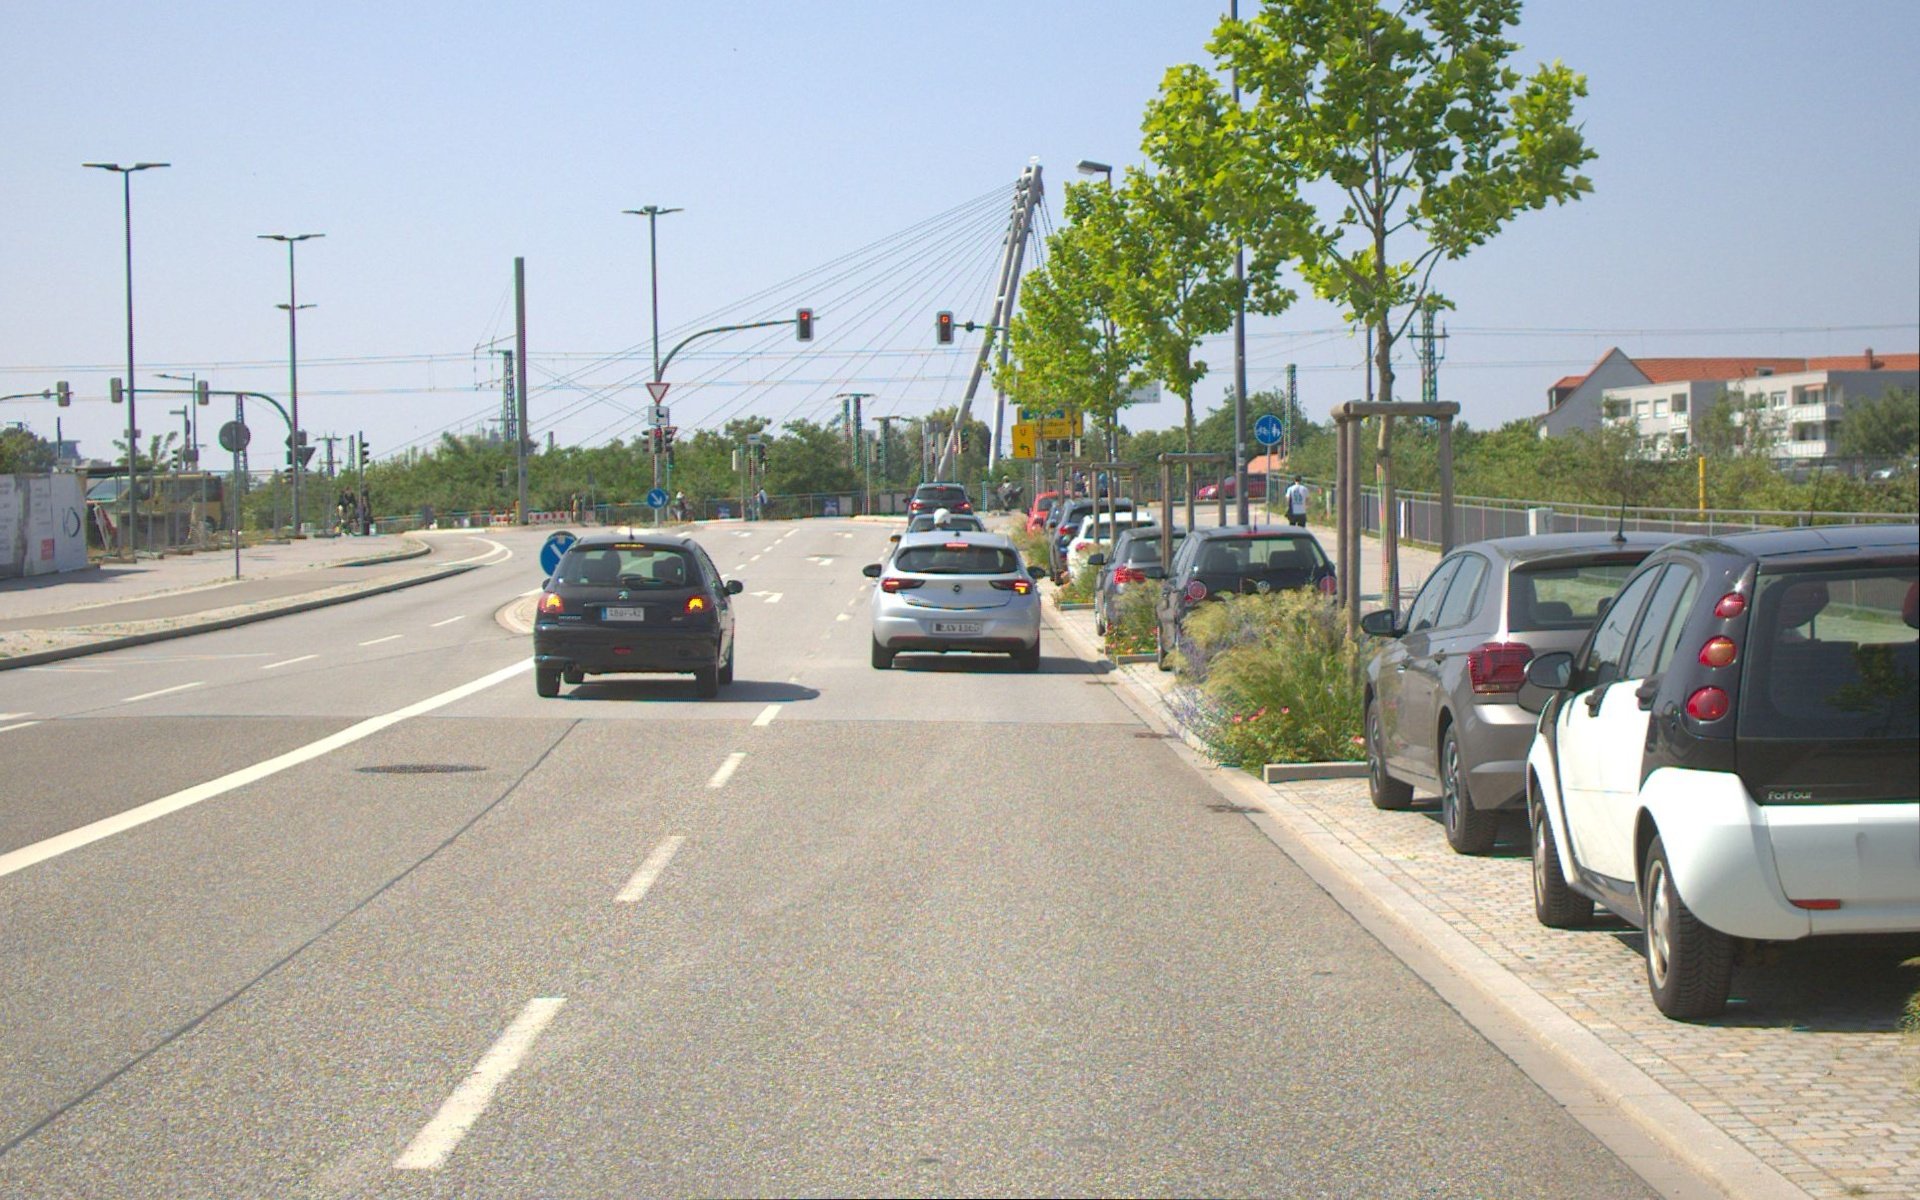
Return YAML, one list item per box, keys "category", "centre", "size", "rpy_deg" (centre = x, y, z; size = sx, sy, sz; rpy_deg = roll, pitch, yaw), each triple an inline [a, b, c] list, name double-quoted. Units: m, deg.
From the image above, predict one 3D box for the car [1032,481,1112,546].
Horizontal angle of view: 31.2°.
- category: "car"
  centre: [2.717, -2.126, 83.992]
  size: [1.778, 1.498, 4.001]
  rpy_deg: [-2, 2, 0]

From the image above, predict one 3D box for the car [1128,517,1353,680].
- category: "car"
  centre: [2.714, -0.038, 34.035]
  size: [1.704, 1.457, 3.954]
  rpy_deg: [-2, 1, -2]

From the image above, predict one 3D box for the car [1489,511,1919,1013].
- category: "car"
  centre: [2.979, 0.424, 12.094]
  size: [1.704, 1.457, 4.085]
  rpy_deg: [-1, 1, 2]

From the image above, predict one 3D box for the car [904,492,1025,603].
- category: "car"
  centre: [0.072, -0.840, 53.133]
  size: [1.778, 1.563, 4.001]
  rpy_deg: [-1, 3, 0]

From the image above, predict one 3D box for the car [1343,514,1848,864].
- category: "car"
  centre: [3.024, 0.343, 17.137]
  size: [1.704, 1.457, 3.954]
  rpy_deg: [-2, 2, 0]

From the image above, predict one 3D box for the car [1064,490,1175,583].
- category: "car"
  centre: [2.705, -1.115, 59.030]
  size: [1.696, 1.470, 4.206]
  rpy_deg: [-2, 2, 1]

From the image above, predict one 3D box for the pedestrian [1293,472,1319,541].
- category: "pedestrian"
  centre: [7.888, -2.134, 78.416]
  size: [0.533, 1.570, 0.524]
  rpy_deg: [1, 0, 0]

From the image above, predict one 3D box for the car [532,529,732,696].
- category: "car"
  centre: [-2.959, 0.066, 31.566]
  size: [1.619, 1.411, 3.728]
  rpy_deg: [-1, 1, -2]

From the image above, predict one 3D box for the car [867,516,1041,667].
- category: "car"
  centre: [-0.079, -0.135, 37.366]
  size: [1.778, 1.437, 4.001]
  rpy_deg: [-1, 3, -1]

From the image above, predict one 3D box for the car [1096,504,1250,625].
- category: "car"
  centre: [2.646, -0.469, 43.519]
  size: [1.704, 1.397, 4.270]
  rpy_deg: [-2, 1, 1]

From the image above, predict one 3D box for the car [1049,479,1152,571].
- category: "car"
  centre: [2.665, -1.456, 65.685]
  size: [1.822, 1.611, 3.611]
  rpy_deg: [-2, 2, 1]

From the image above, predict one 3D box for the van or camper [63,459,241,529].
- category: "van or camper"
  centre: [-23.389, -3.053, 99.630]
  size: [1.998, 1.891, 4.706]
  rpy_deg: [1, 1, 43]

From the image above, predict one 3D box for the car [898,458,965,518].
- category: "car"
  centre: [-0.764, -3.105, 94.487]
  size: [1.778, 1.563, 4.001]
  rpy_deg: [-1, 3, 0]
